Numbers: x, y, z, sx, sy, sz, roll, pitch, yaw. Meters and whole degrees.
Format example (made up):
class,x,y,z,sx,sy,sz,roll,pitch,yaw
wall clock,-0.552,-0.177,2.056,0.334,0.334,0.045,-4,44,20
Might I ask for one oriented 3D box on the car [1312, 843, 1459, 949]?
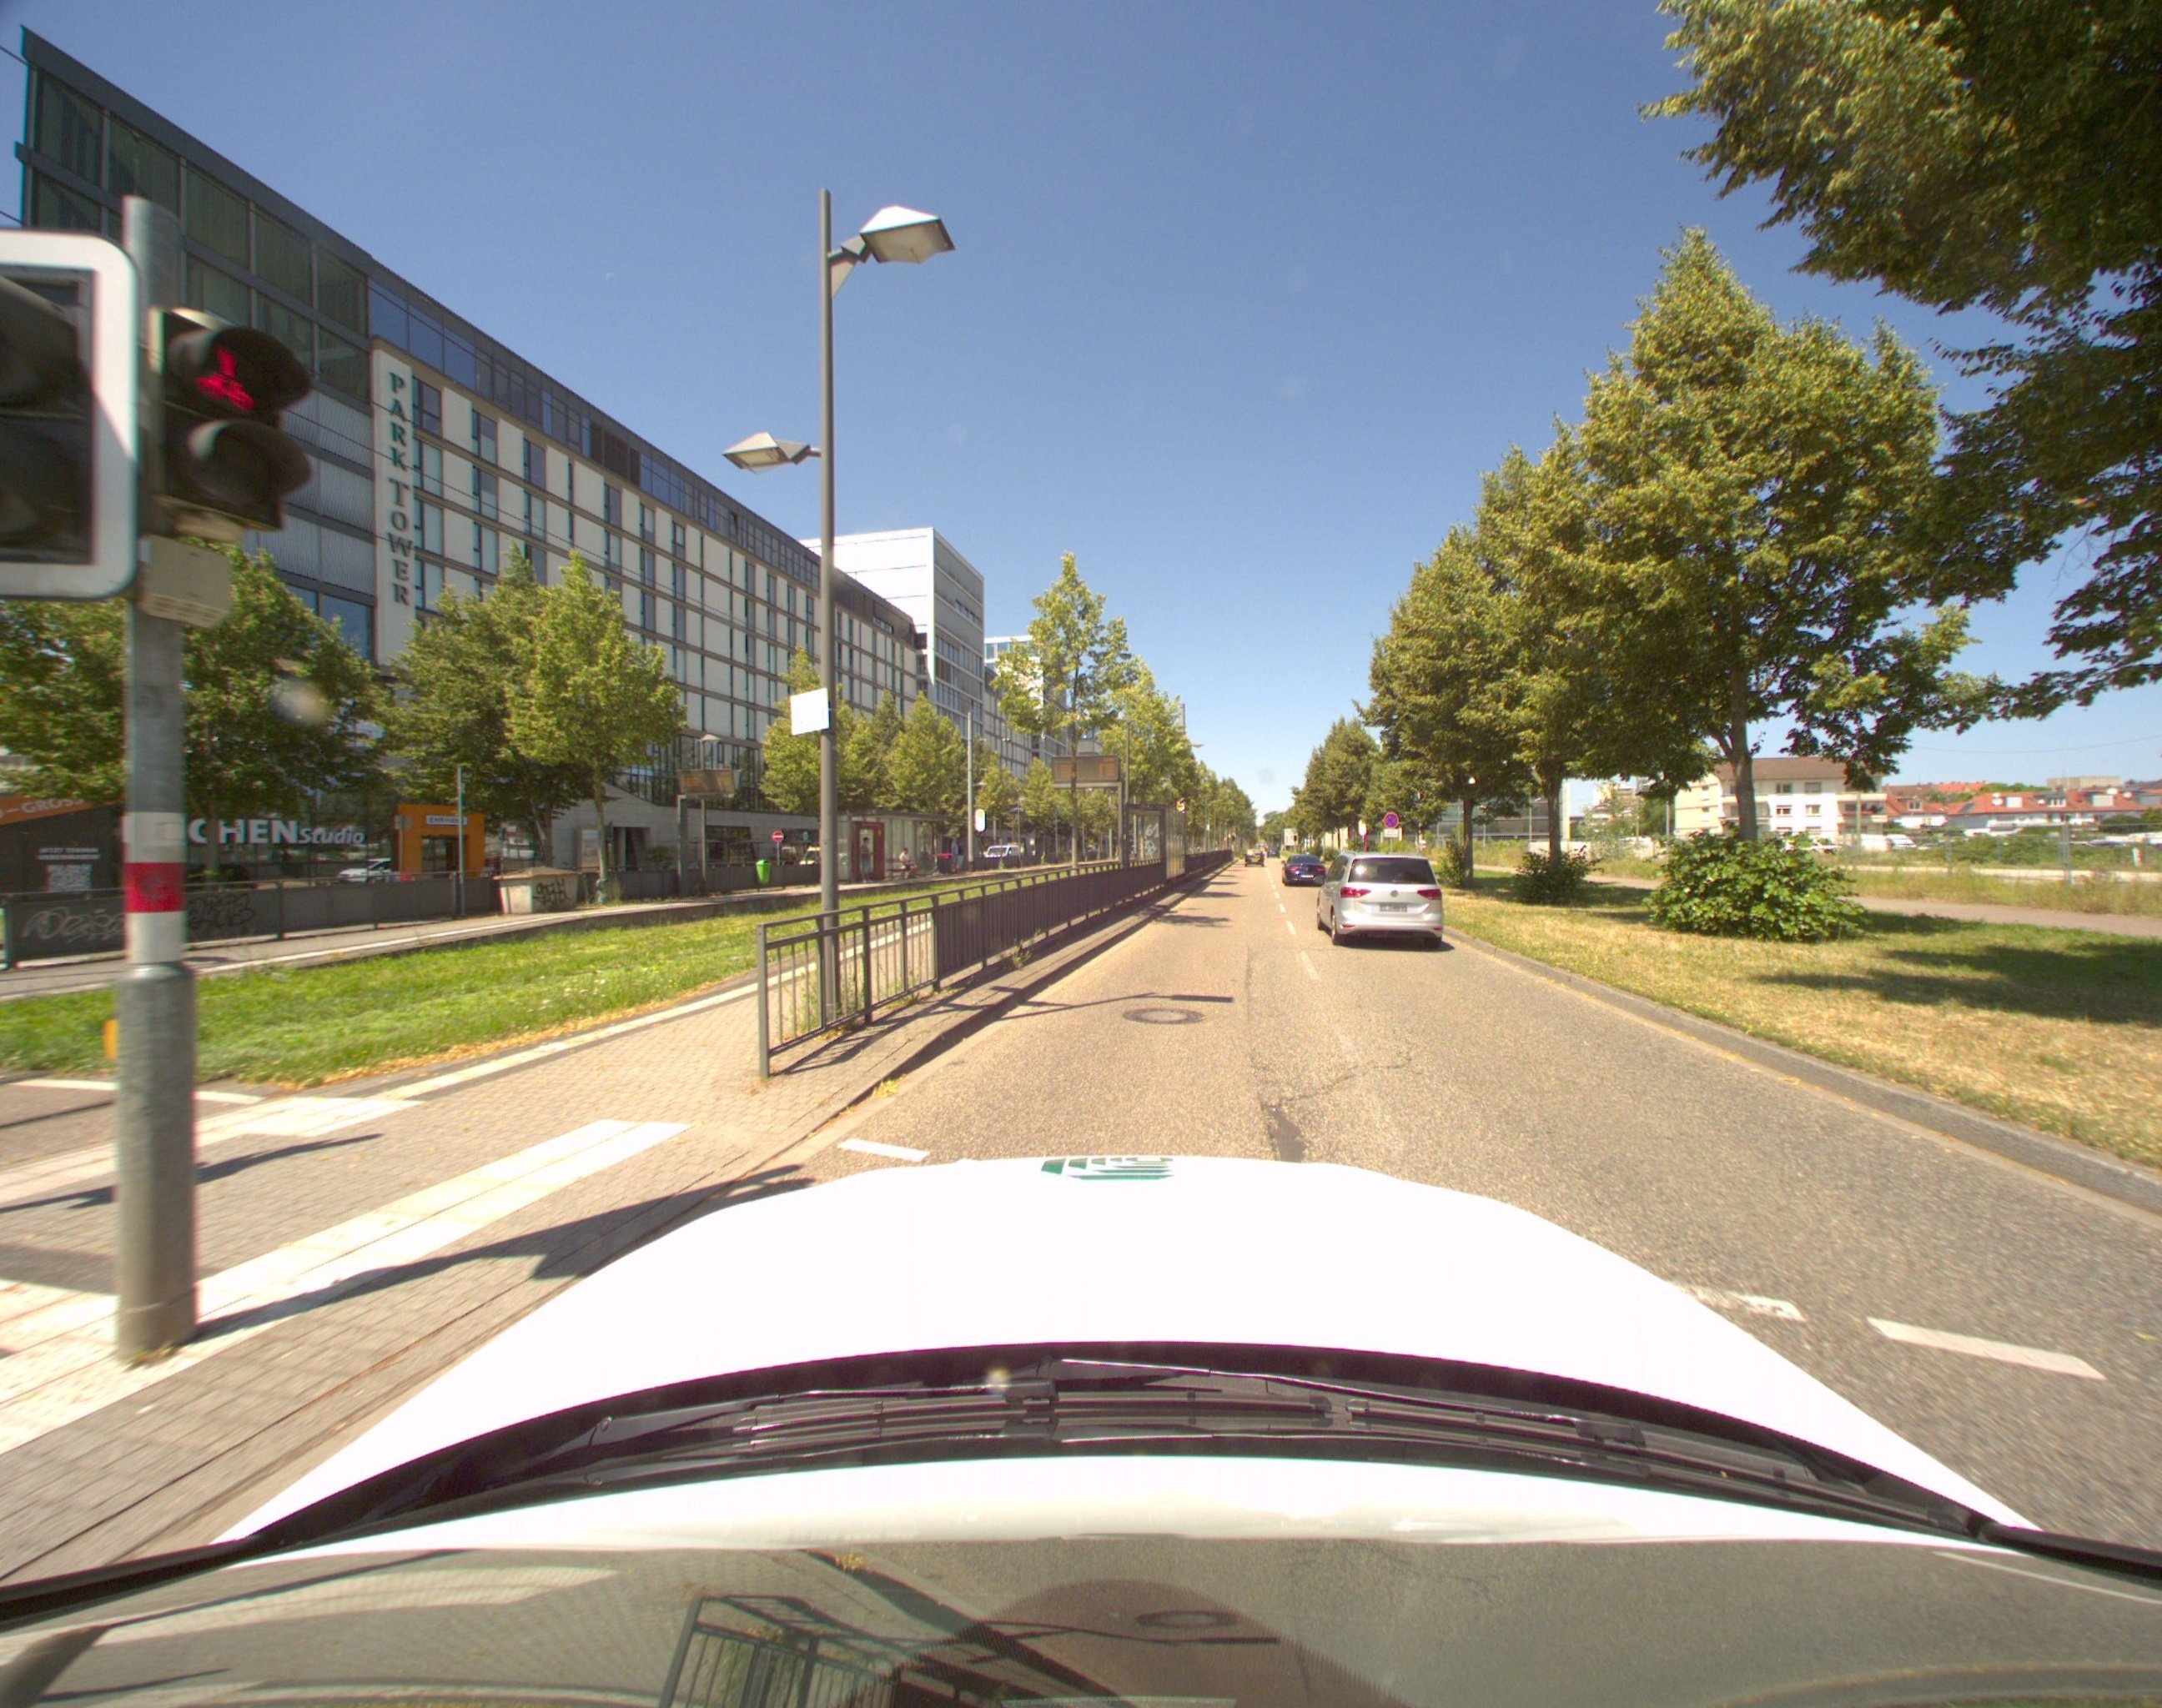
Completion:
class,x,y,z,sx,sy,sz,roll,pitch,yaw
car,5.484,0.678,15.243,1.789,1.649,4.618,1,0,11

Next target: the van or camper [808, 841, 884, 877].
class,x,y,z,sx,sy,sz,roll,pitch,yaw
van or camper,-16.535,0.340,57.827,2.162,2.386,6.796,0,0,13

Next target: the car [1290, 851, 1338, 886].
class,x,y,z,sx,sy,sz,roll,pitch,yaw
car,10.390,0.599,36.628,1.839,1.436,4.973,-1,0,13

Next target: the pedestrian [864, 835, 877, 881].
class,x,y,z,sx,sy,sz,roll,pitch,yaw
pedestrian,-8.042,0.144,31.071,0.466,1.739,0.476,-1,0,-16

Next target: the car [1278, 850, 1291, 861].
class,x,y,z,sx,sy,sz,roll,pitch,yaw
car,29.823,0.200,119.265,1.754,1.627,3.728,-1,0,12

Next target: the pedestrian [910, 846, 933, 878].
class,x,y,z,sx,sy,sz,roll,pitch,yaw
pedestrian,-7.043,0.355,35.962,0.829,1.413,0.644,-1,0,12

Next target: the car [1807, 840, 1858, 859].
class,x,y,z,sx,sy,sz,roll,pitch,yaw
car,68.870,-0.410,74.708,1.665,1.586,3.630,-2,-1,8

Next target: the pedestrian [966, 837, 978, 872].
class,x,y,z,sx,sy,sz,roll,pitch,yaw
pedestrian,-5.514,0.040,41.114,0.407,1.752,0.587,-1,0,10

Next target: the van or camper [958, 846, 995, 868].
class,x,y,z,sx,sy,sz,roll,pitch,yaw
van or camper,-7.185,0.191,56.235,1.465,1.427,3.440,0,0,13

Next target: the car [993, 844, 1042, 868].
class,x,y,z,sx,sy,sz,roll,pitch,yaw
car,-5.081,0.140,65.549,2.445,1.806,5.089,-1,0,13

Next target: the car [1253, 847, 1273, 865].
class,x,y,z,sx,sy,sz,roll,pitch,yaw
car,15.398,0.219,68.900,1.607,1.451,4.000,-1,-1,13

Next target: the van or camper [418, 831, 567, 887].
class,x,y,z,sx,sy,sz,roll,pitch,yaw
van or camper,-31.790,0.249,44.405,2.360,2.822,6.807,-1,0,10

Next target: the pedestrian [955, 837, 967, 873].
class,x,y,z,sx,sy,sz,roll,pitch,yaw
pedestrian,-5.980,0.049,40.534,0.407,1.752,0.587,-1,0,10
